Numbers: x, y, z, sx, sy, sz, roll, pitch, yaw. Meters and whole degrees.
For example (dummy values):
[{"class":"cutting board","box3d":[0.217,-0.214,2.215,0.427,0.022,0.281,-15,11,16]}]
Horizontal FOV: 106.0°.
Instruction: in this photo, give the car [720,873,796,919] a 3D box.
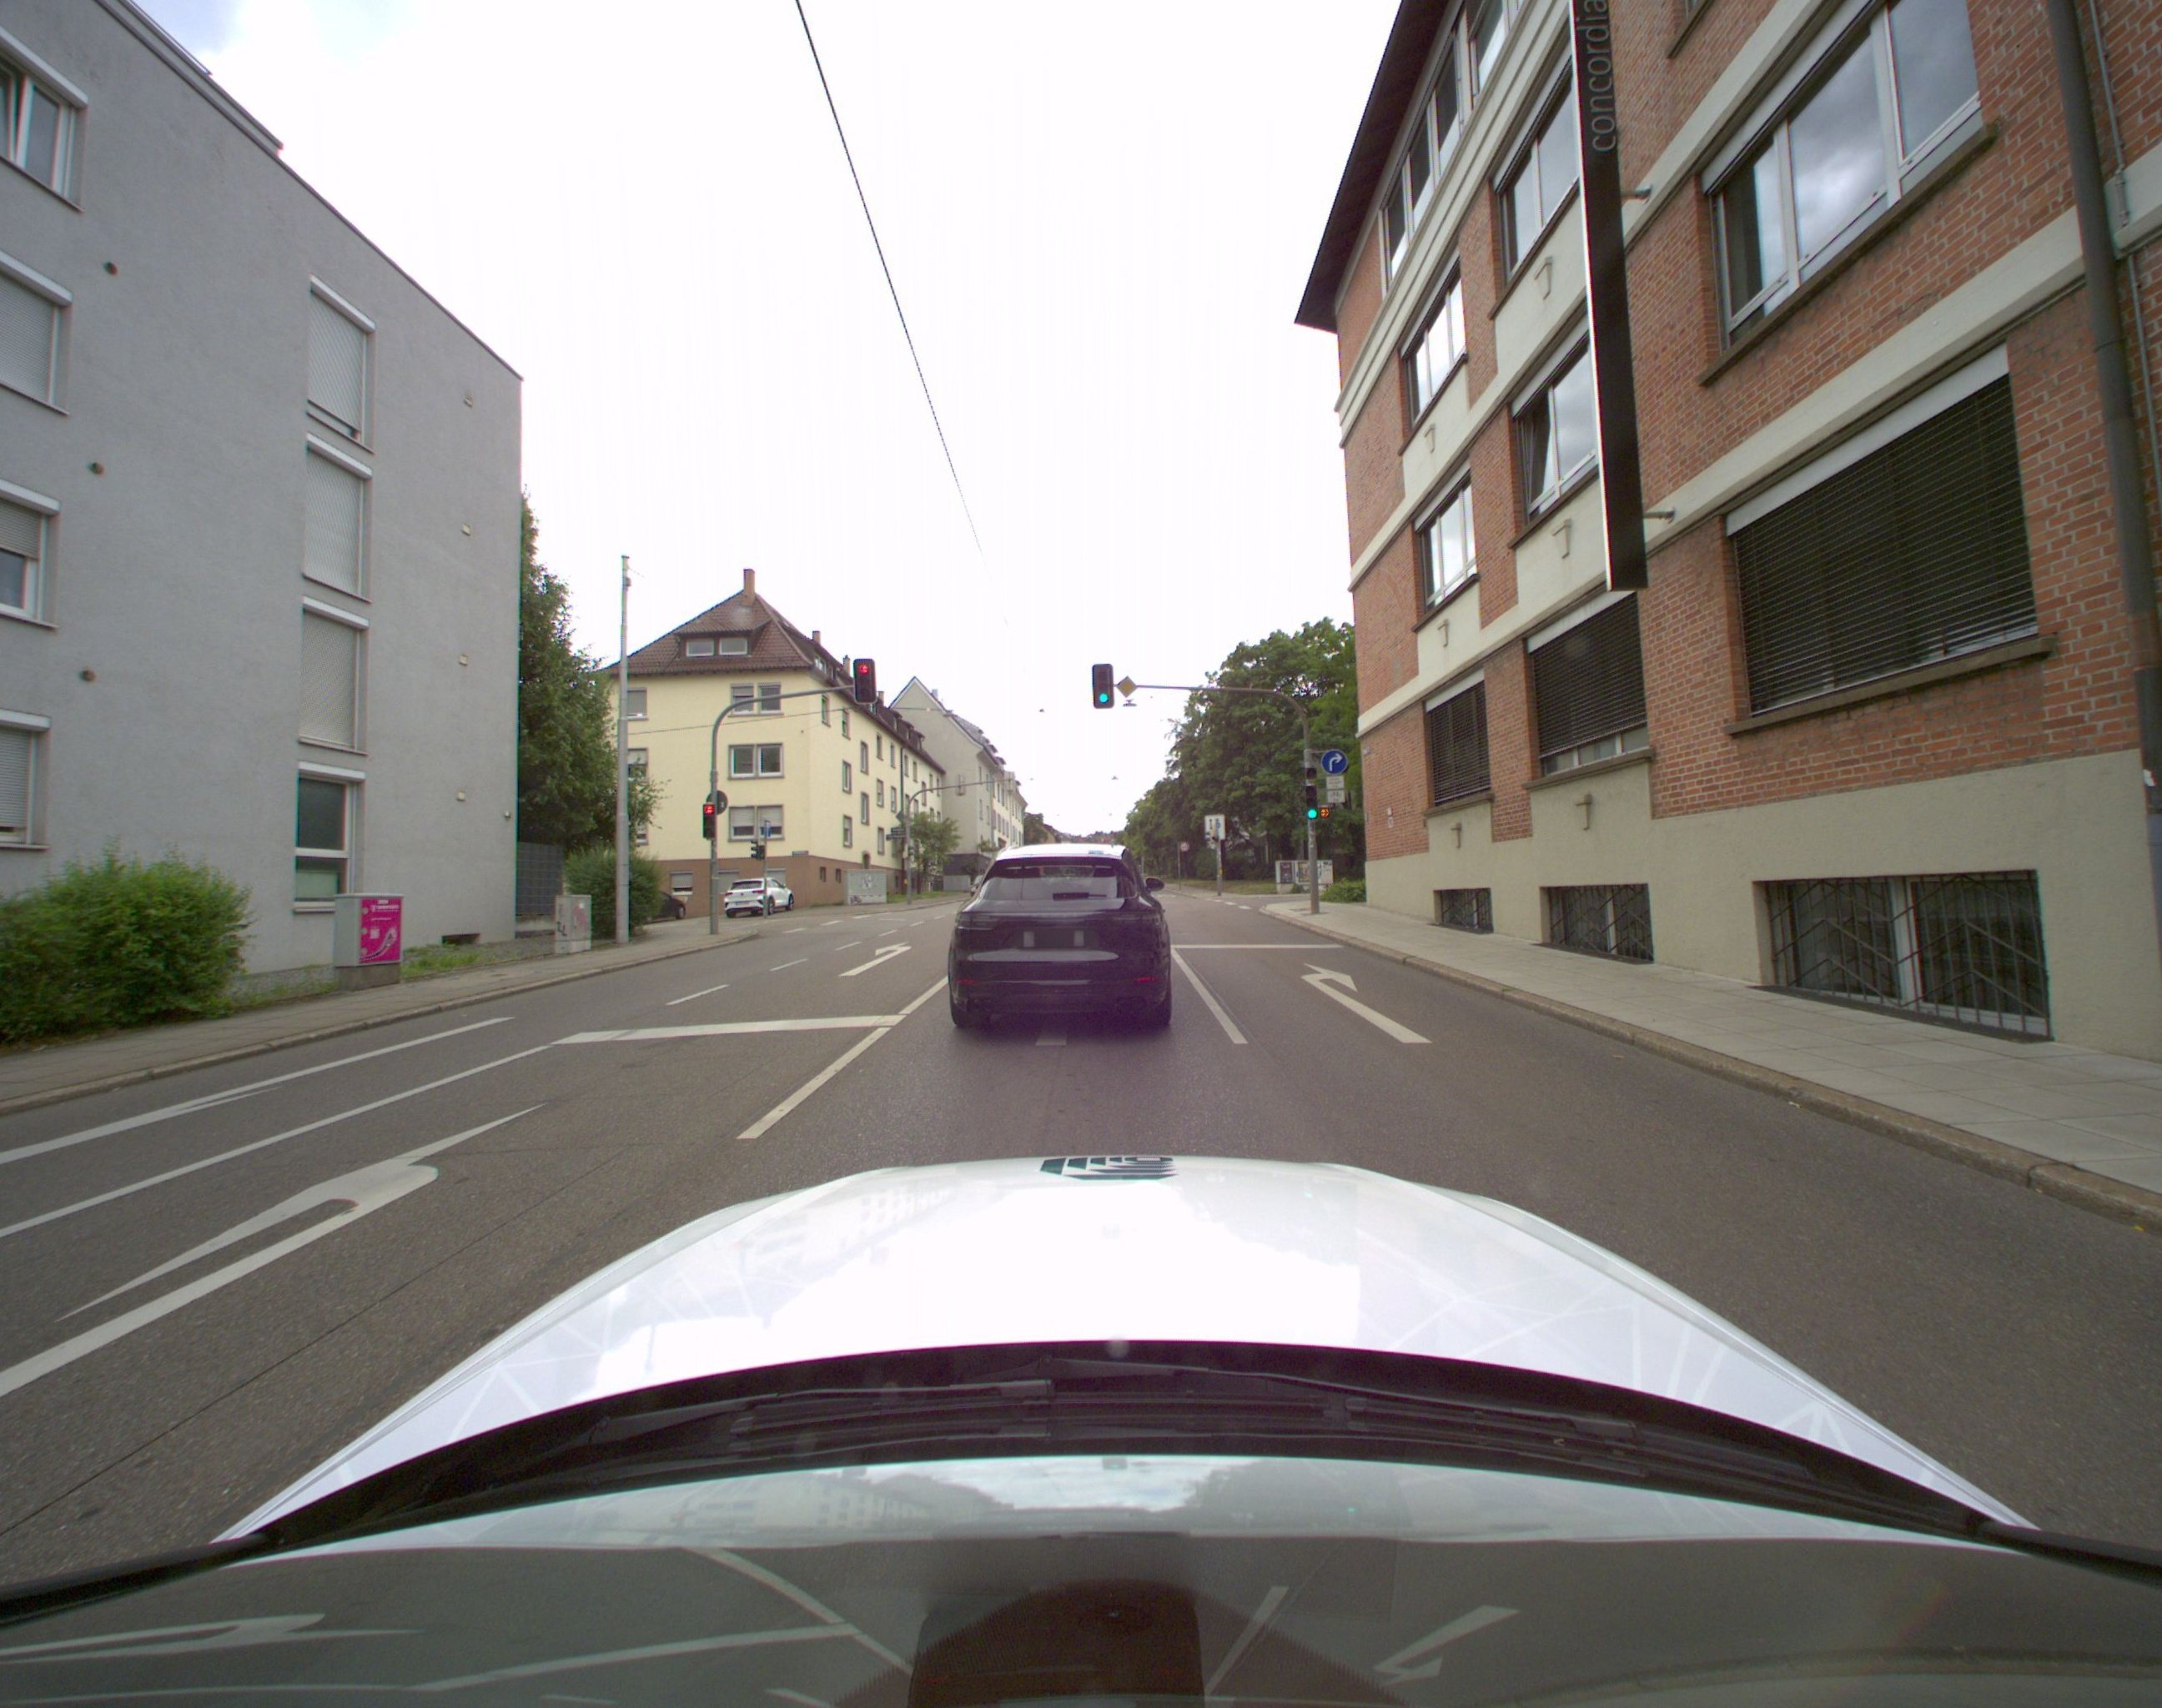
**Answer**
[{"class":"car","box3d":[-13.573,1.708,34.443,1.666,1.662,3.996,-4,0,-3]}]

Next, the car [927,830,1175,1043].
[{"class":"car","box3d":[-0.179,0.680,8.542,1.986,1.697,4.001,0,-1,2]}]

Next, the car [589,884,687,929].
[{"class":"car","box3d":[-18.554,2.164,34.312,1.664,1.546,4.103,-5,-1,2]}]

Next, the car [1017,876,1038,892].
[{"class":"car","box3d":[-5.027,2.820,77.241,1.664,1.362,3.999,-1,-1,0]}]

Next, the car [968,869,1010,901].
[{"class":"car","box3d":[-5.149,1.710,45.815,1.657,1.519,3.742,-5,-1,2]}]

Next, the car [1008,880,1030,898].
[{"class":"car","box3d":[-5.286,3.014,69.825,1.665,1.362,3.998,-1,-1,-1]}]

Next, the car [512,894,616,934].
[{"class":"car","box3d":[-21.457,2.463,34.012,1.663,1.362,4.001,-1,-1,2]}]
